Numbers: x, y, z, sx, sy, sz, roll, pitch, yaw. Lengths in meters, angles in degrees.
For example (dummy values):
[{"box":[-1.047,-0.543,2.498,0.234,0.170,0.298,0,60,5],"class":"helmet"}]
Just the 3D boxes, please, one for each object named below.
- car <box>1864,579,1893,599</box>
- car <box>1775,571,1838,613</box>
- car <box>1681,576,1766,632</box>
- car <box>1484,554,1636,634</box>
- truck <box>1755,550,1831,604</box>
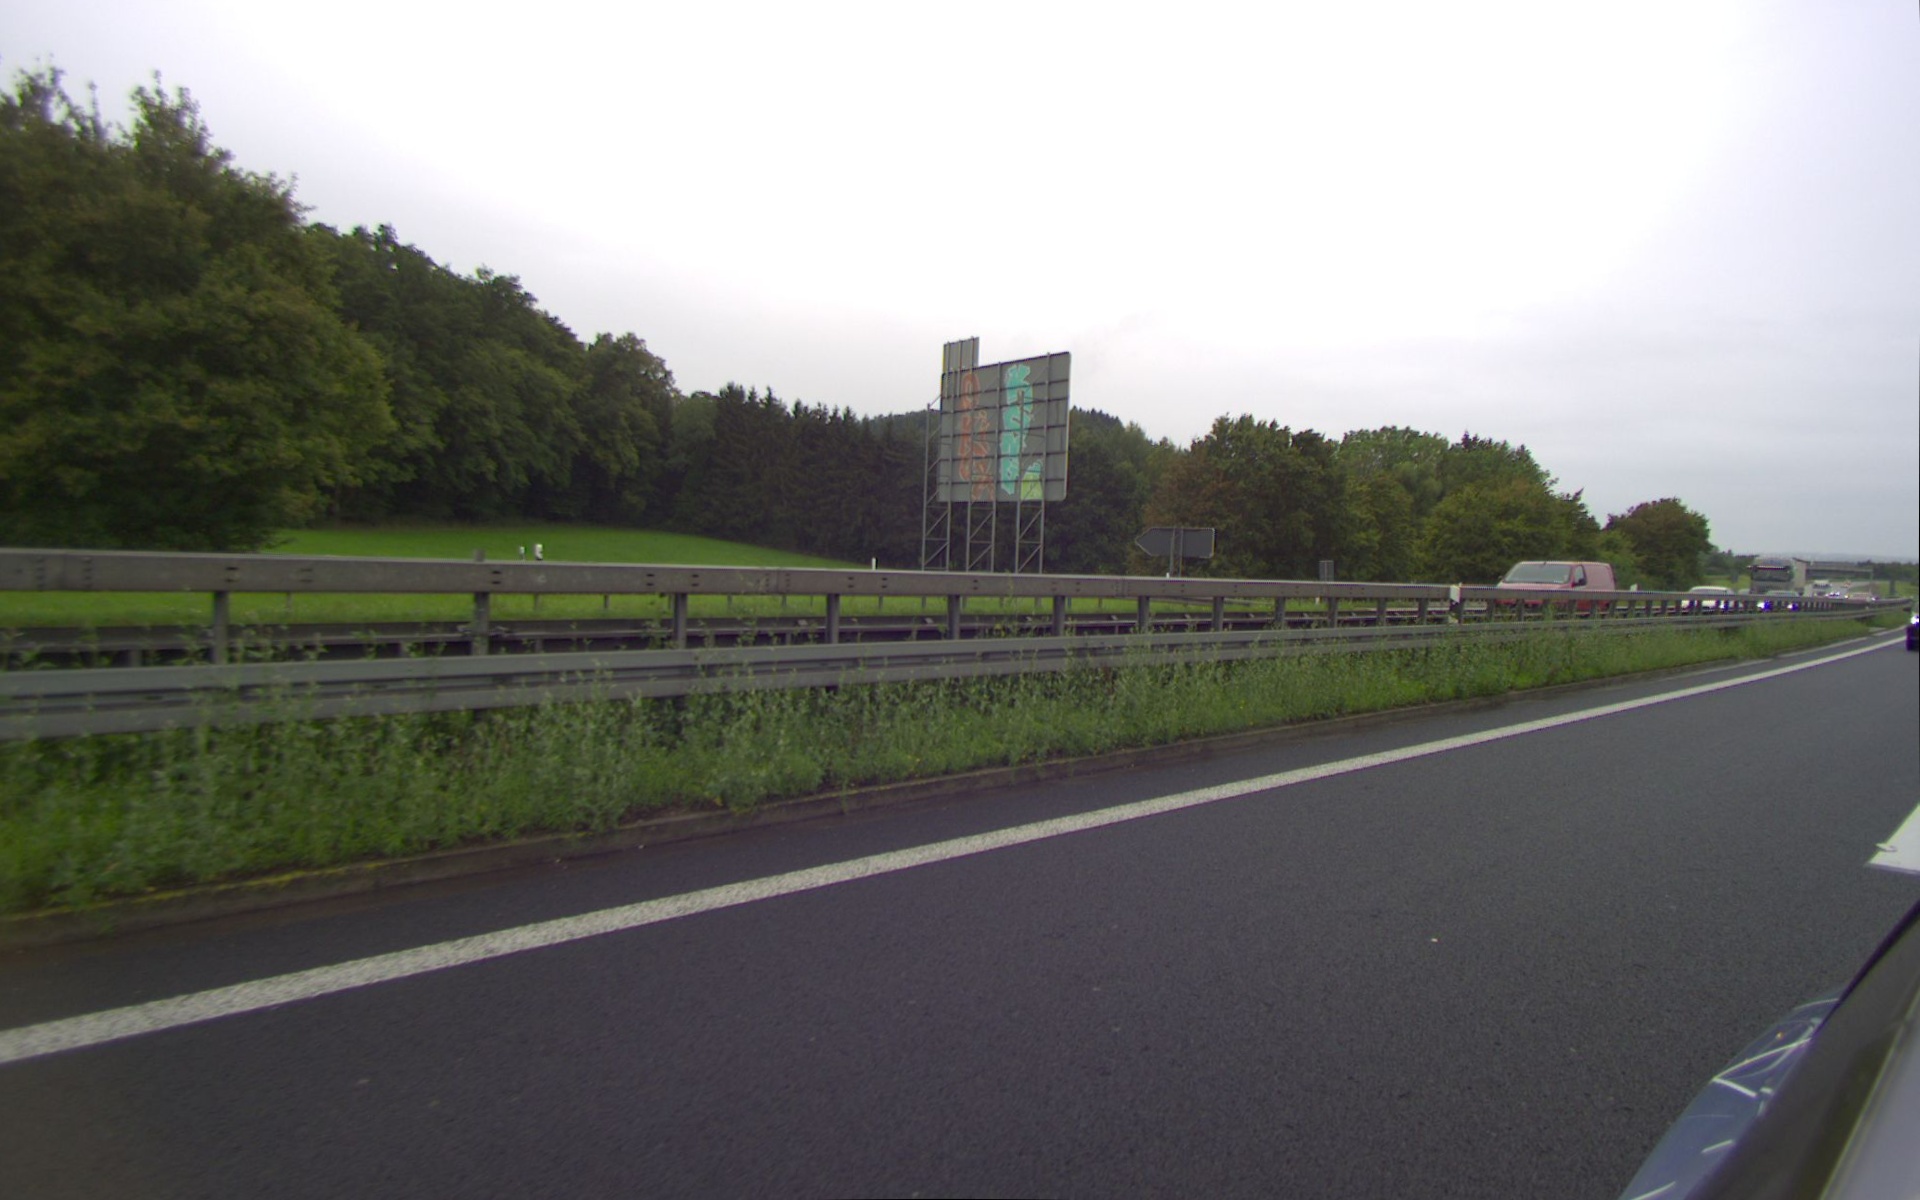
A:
[{"box":[96.798,-1.199,106.624,4.420,2.038,1.751,-1,2,-41],"class":"car"},{"box":[43.626,-0.447,52.126,4.420,2.038,1.751,-1,2,-41],"class":"car"},{"box":[29.917,0.108,39.619,4.420,2.038,1.751,-1,2,-41],"class":"car"},{"box":[16.752,-0.223,28.148,4.988,2.038,2.129,-1,2,-41],"class":"car"},{"box":[63.770,-1.752,77.415,9.853,3.949,2.797,-1,2,-41],"class":"truck"}]
